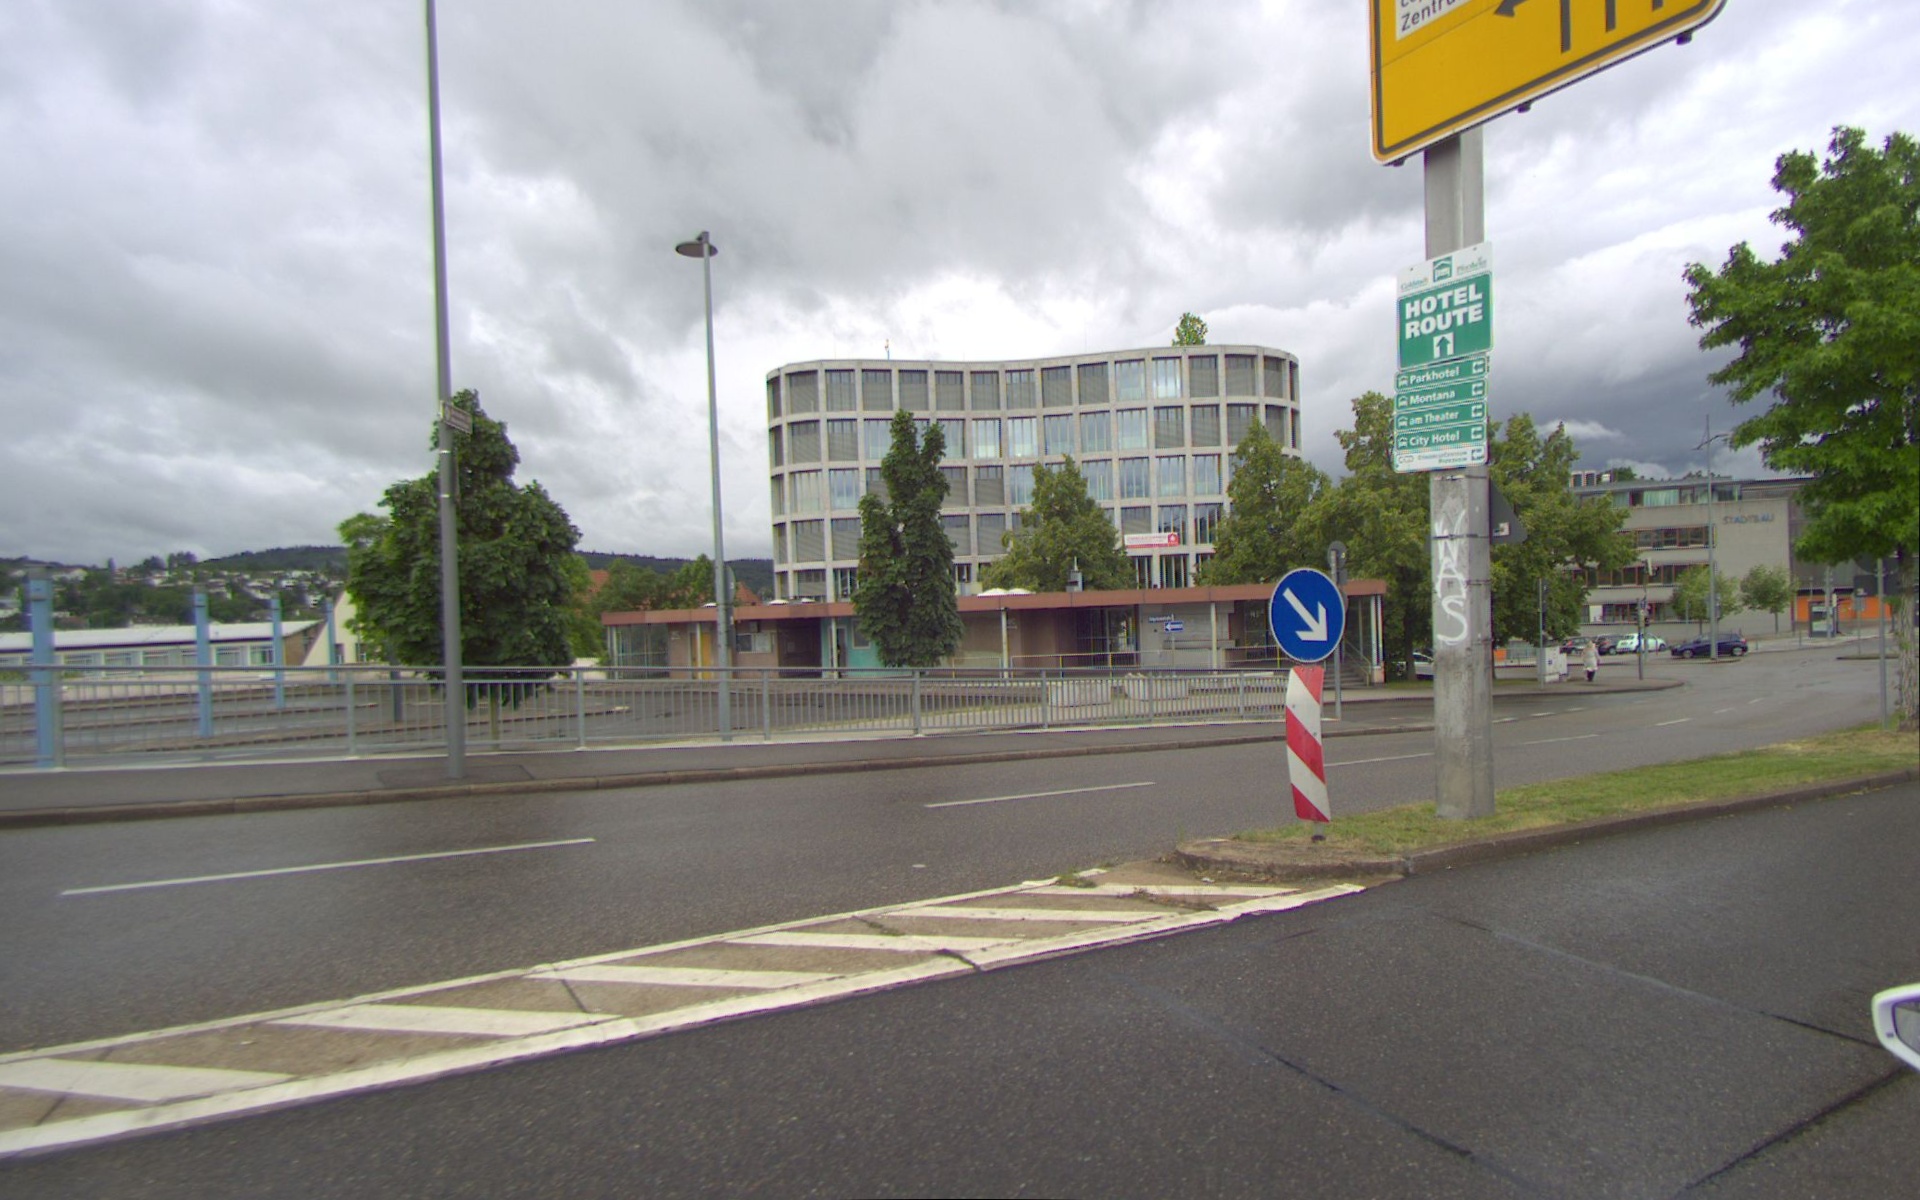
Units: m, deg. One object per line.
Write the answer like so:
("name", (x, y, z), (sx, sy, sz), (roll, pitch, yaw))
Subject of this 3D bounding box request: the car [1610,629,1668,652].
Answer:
("car", (50.763, 3.033, 75.077), (3.522, 1.515, 1.628), (-2, -2, -15))

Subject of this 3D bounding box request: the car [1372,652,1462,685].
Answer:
("car", (24.042, 3.585, 52.969), (3.974, 1.528, 1.729), (-3, -1, 11))

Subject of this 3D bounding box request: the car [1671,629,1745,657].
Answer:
("car", (48.322, 2.782, 64.956), (3.613, 1.457, 1.825), (-6, -3, 34))

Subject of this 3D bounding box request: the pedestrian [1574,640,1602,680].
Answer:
("pedestrian", (25.536, 2.444, 40.848), (0.622, 1.590, 0.650), (0, -4, -25))

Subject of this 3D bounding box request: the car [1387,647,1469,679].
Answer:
("car", (25.759, 3.471, 55.413), (3.761, 1.588, 1.729), (-3, -1, 13))

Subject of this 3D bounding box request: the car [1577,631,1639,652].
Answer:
("car", (51.853, 3.331, 80.415), (3.712, 1.515, 1.767), (-3, -2, 9))

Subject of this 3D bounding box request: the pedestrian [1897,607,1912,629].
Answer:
("pedestrian", (74.483, 1.395, 79.217), (0.752, 1.706, 0.473), (-2, -2, -23))
